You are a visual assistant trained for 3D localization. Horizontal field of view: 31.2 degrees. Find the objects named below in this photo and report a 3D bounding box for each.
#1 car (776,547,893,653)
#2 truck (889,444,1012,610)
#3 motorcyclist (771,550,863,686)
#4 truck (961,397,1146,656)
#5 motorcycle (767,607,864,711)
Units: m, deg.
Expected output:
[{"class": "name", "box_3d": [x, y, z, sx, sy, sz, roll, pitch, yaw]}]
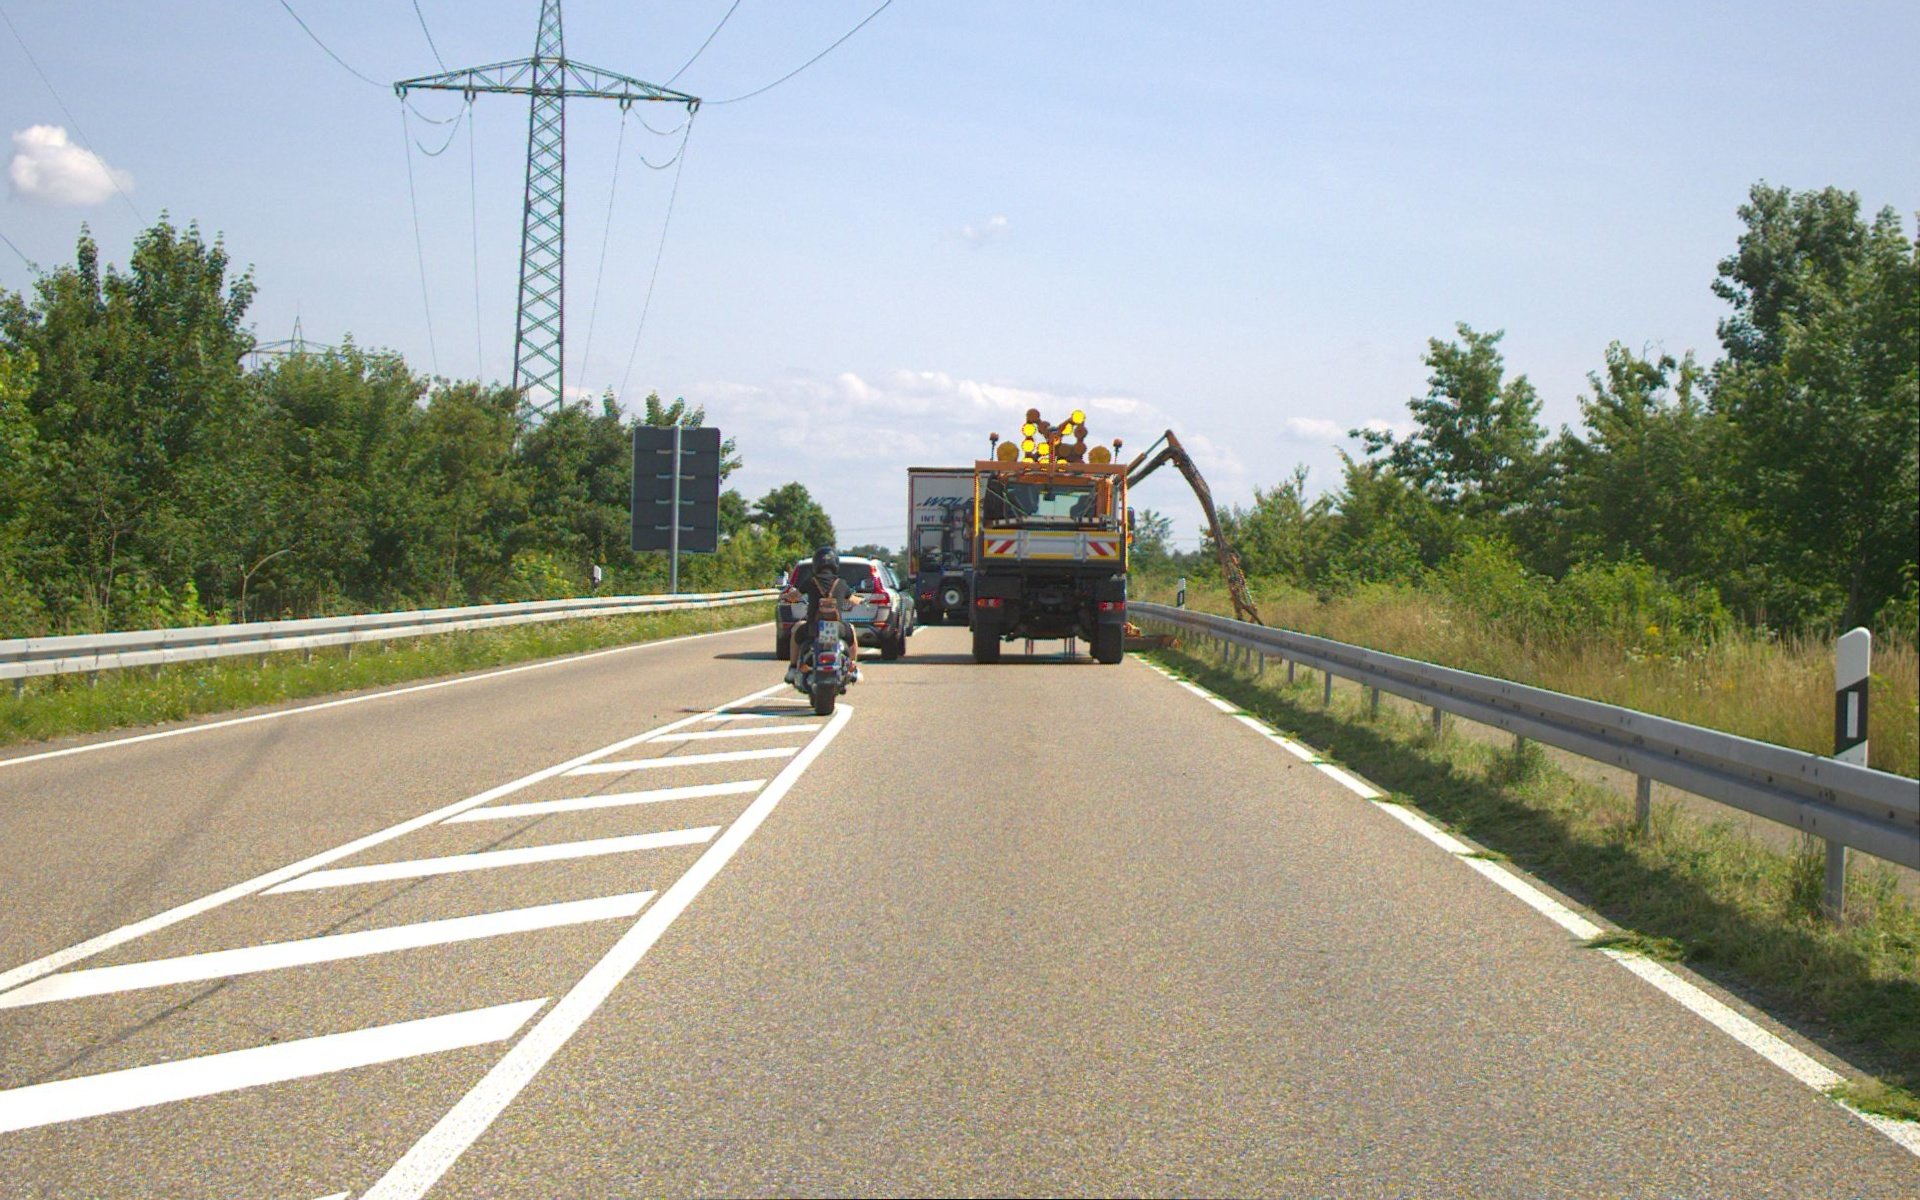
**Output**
[{"class": "car", "box_3d": [-1.907, -0.021, 52.442, 1.701, 1.531, 3.499, 1, 1, -2]}, {"class": "truck", "box_3d": [-0.132, -1.972, 94.962, 2.968, 4.172, 14.821, 1, 1, 1]}, {"class": "motorcyclist", "box_3d": [-1.363, 0.162, 33.024, 0.837, 1.276, 0.919, 1, 1, -1]}, {"class": "truck", "box_3d": [1.418, -1.113, 53.100, 2.614, 3.698, 6.777, 1, 1, 1]}, {"class": "motorcycle", "box_3d": [-1.370, 0.553, 32.956, 0.859, 0.912, 2.228, 1, 1, -1]}]
